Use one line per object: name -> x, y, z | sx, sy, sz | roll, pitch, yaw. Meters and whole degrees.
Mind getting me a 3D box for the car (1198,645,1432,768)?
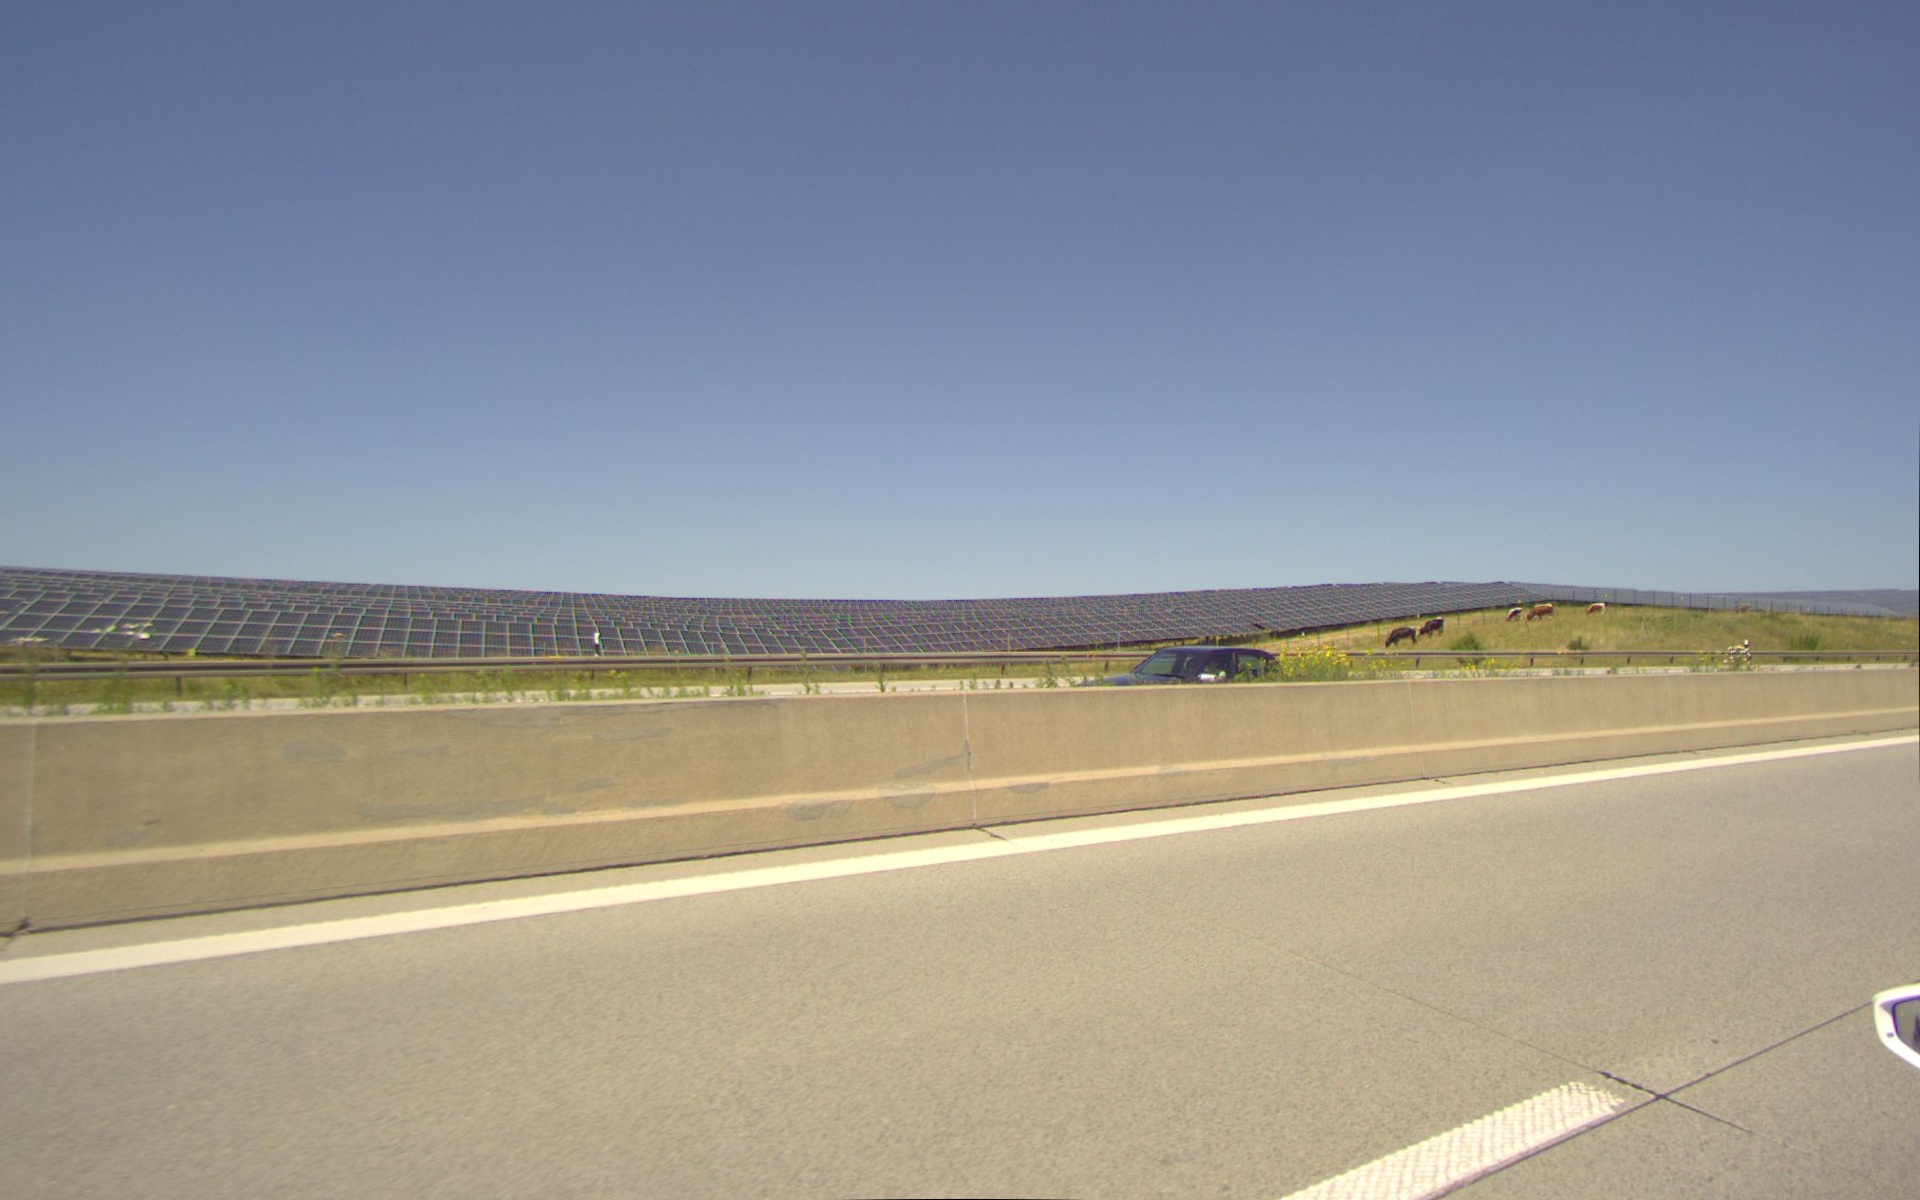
car -> 6.243, 1.767, 17.609 | 3.778, 1.865, 1.840 | 2, -1, -30
